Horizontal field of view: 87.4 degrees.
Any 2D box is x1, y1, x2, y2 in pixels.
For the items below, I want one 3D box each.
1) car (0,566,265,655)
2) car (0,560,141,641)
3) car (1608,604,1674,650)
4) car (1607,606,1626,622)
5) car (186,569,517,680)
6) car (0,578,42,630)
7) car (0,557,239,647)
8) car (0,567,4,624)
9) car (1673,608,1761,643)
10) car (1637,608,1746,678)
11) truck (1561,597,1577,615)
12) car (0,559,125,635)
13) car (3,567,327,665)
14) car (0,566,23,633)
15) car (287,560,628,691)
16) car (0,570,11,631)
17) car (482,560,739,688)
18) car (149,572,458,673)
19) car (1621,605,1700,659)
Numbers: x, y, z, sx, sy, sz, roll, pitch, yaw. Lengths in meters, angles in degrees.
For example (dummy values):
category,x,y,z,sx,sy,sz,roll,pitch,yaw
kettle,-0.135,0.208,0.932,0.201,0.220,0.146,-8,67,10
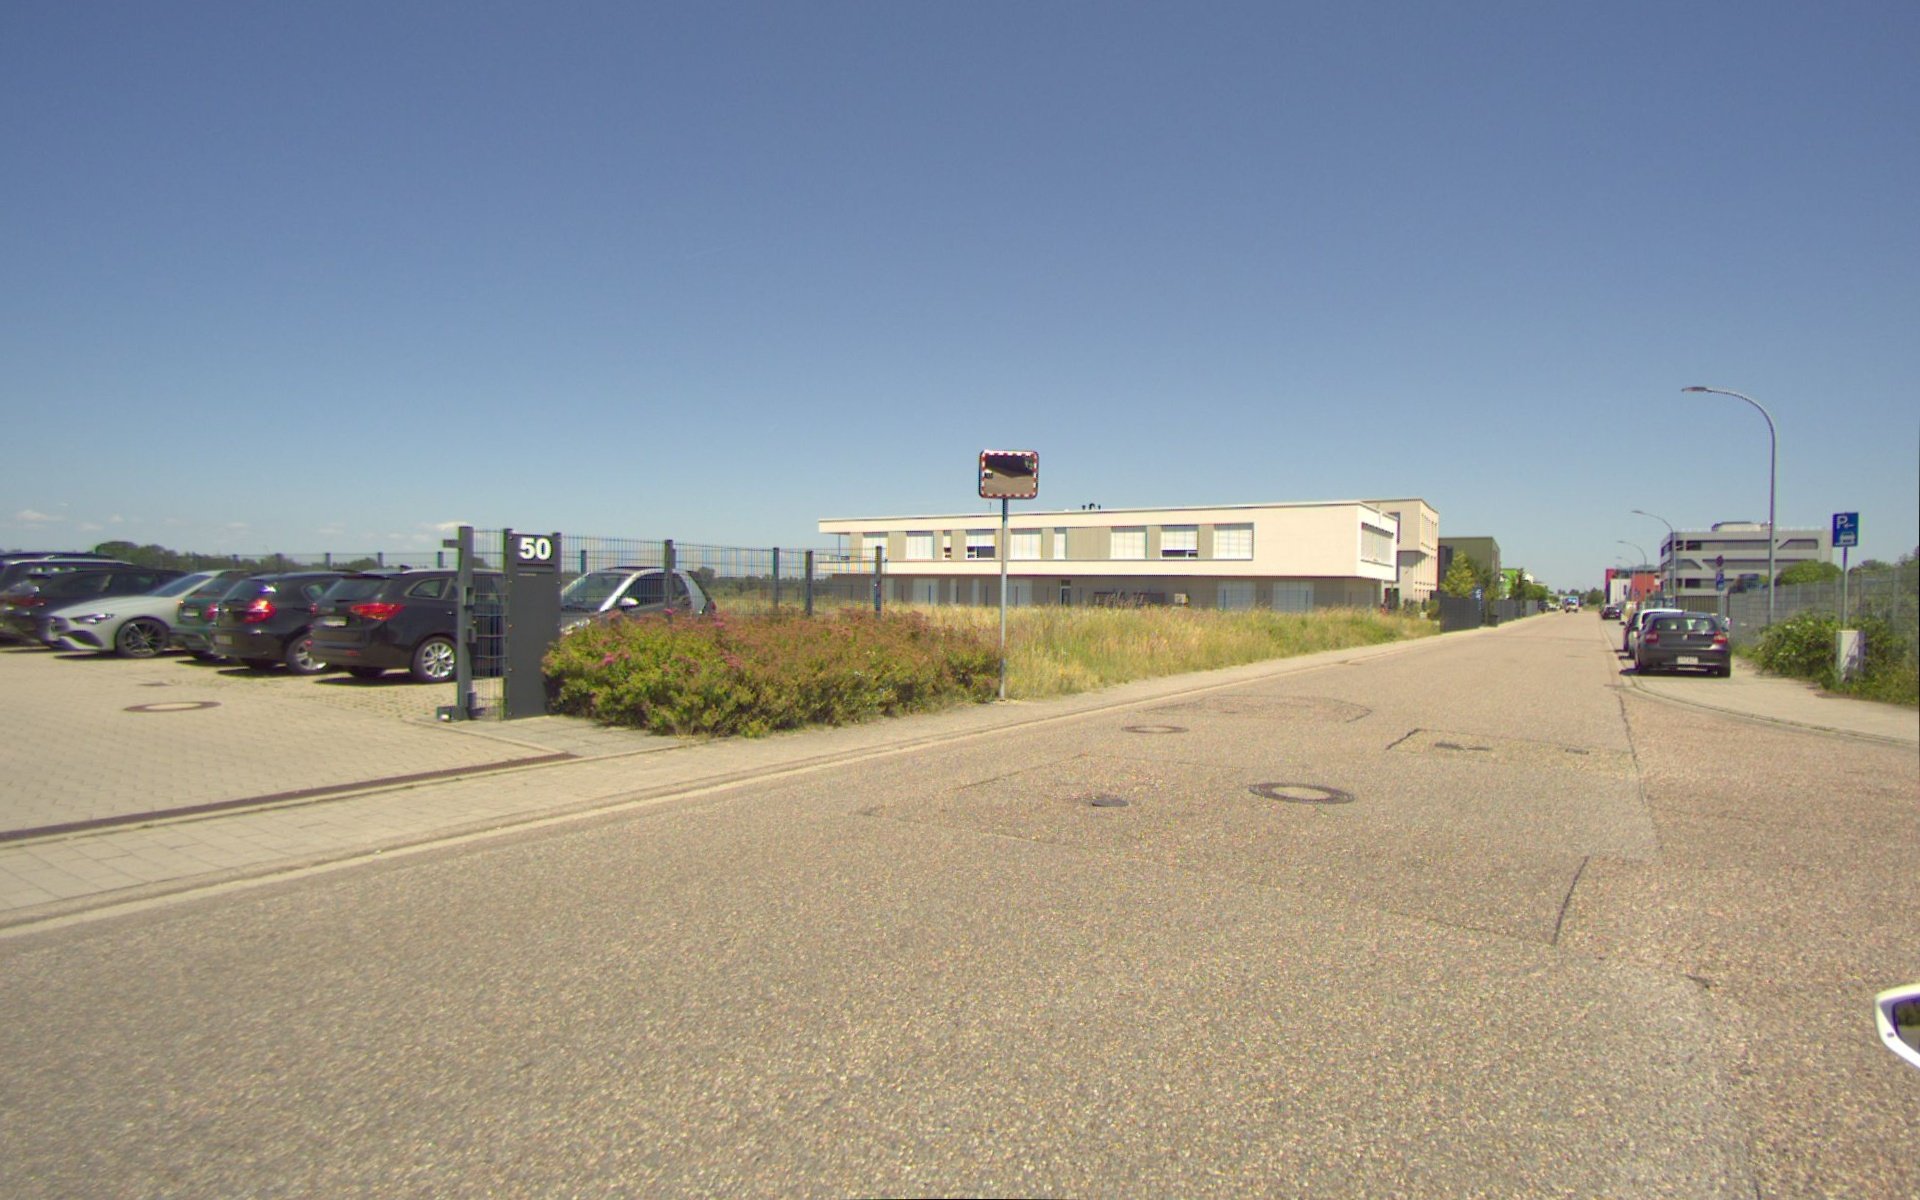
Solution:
category,x,y,z,sx,sy,sz,roll,pitch,yaw
car,-15.400,0.165,18.487,1.647,1.459,3.992,1,0,30
car,-19.777,0.006,20.868,1.647,1.627,3.992,1,0,30
car,24.633,0.935,36.304,1.882,1.567,3.987,-1,-1,35
car,76.174,1.601,116.558,1.751,1.751,3.989,3,2,33
car,-9.095,0.313,15.365,1.775,1.459,3.992,1,0,30
car,-26.411,0.078,25.693,1.966,1.328,3.989,2,1,33
car,-17.251,0.029,20.357,1.647,1.627,3.992,1,0,30
car,-30.429,-0.179,28.851,1.966,1.706,3.989,2,1,33
car,50.908,1.702,67.655,4.565,2.041,2.597,3,2,36
car,16.941,0.938,23.368,1.882,1.467,3.987,-1,-1,35
truck,126.373,1.214,208.545,2.561,3.592,10.479,0,0,30
car,-21.273,-0.079,22.227,1.647,1.627,3.992,2,1,30
car,-13.251,0.229,17.011,1.647,1.459,3.992,1,0,30
car,-24.702,-0.047,23.347,1.647,1.627,3.992,2,1,30
car,-6.881,0.293,14.192,1.798,1.562,3.992,1,0,30
car,-28.454,-0.026,26.961,1.966,1.706,3.989,2,1,33
car,-4.704,0.280,13.835,1.675,1.540,2.992,1,1,30
car,-10.685,0.310,16.648,1.647,1.459,3.992,1,0,30
car,21.849,0.939,31.354,1.882,1.567,3.987,-1,-1,35
